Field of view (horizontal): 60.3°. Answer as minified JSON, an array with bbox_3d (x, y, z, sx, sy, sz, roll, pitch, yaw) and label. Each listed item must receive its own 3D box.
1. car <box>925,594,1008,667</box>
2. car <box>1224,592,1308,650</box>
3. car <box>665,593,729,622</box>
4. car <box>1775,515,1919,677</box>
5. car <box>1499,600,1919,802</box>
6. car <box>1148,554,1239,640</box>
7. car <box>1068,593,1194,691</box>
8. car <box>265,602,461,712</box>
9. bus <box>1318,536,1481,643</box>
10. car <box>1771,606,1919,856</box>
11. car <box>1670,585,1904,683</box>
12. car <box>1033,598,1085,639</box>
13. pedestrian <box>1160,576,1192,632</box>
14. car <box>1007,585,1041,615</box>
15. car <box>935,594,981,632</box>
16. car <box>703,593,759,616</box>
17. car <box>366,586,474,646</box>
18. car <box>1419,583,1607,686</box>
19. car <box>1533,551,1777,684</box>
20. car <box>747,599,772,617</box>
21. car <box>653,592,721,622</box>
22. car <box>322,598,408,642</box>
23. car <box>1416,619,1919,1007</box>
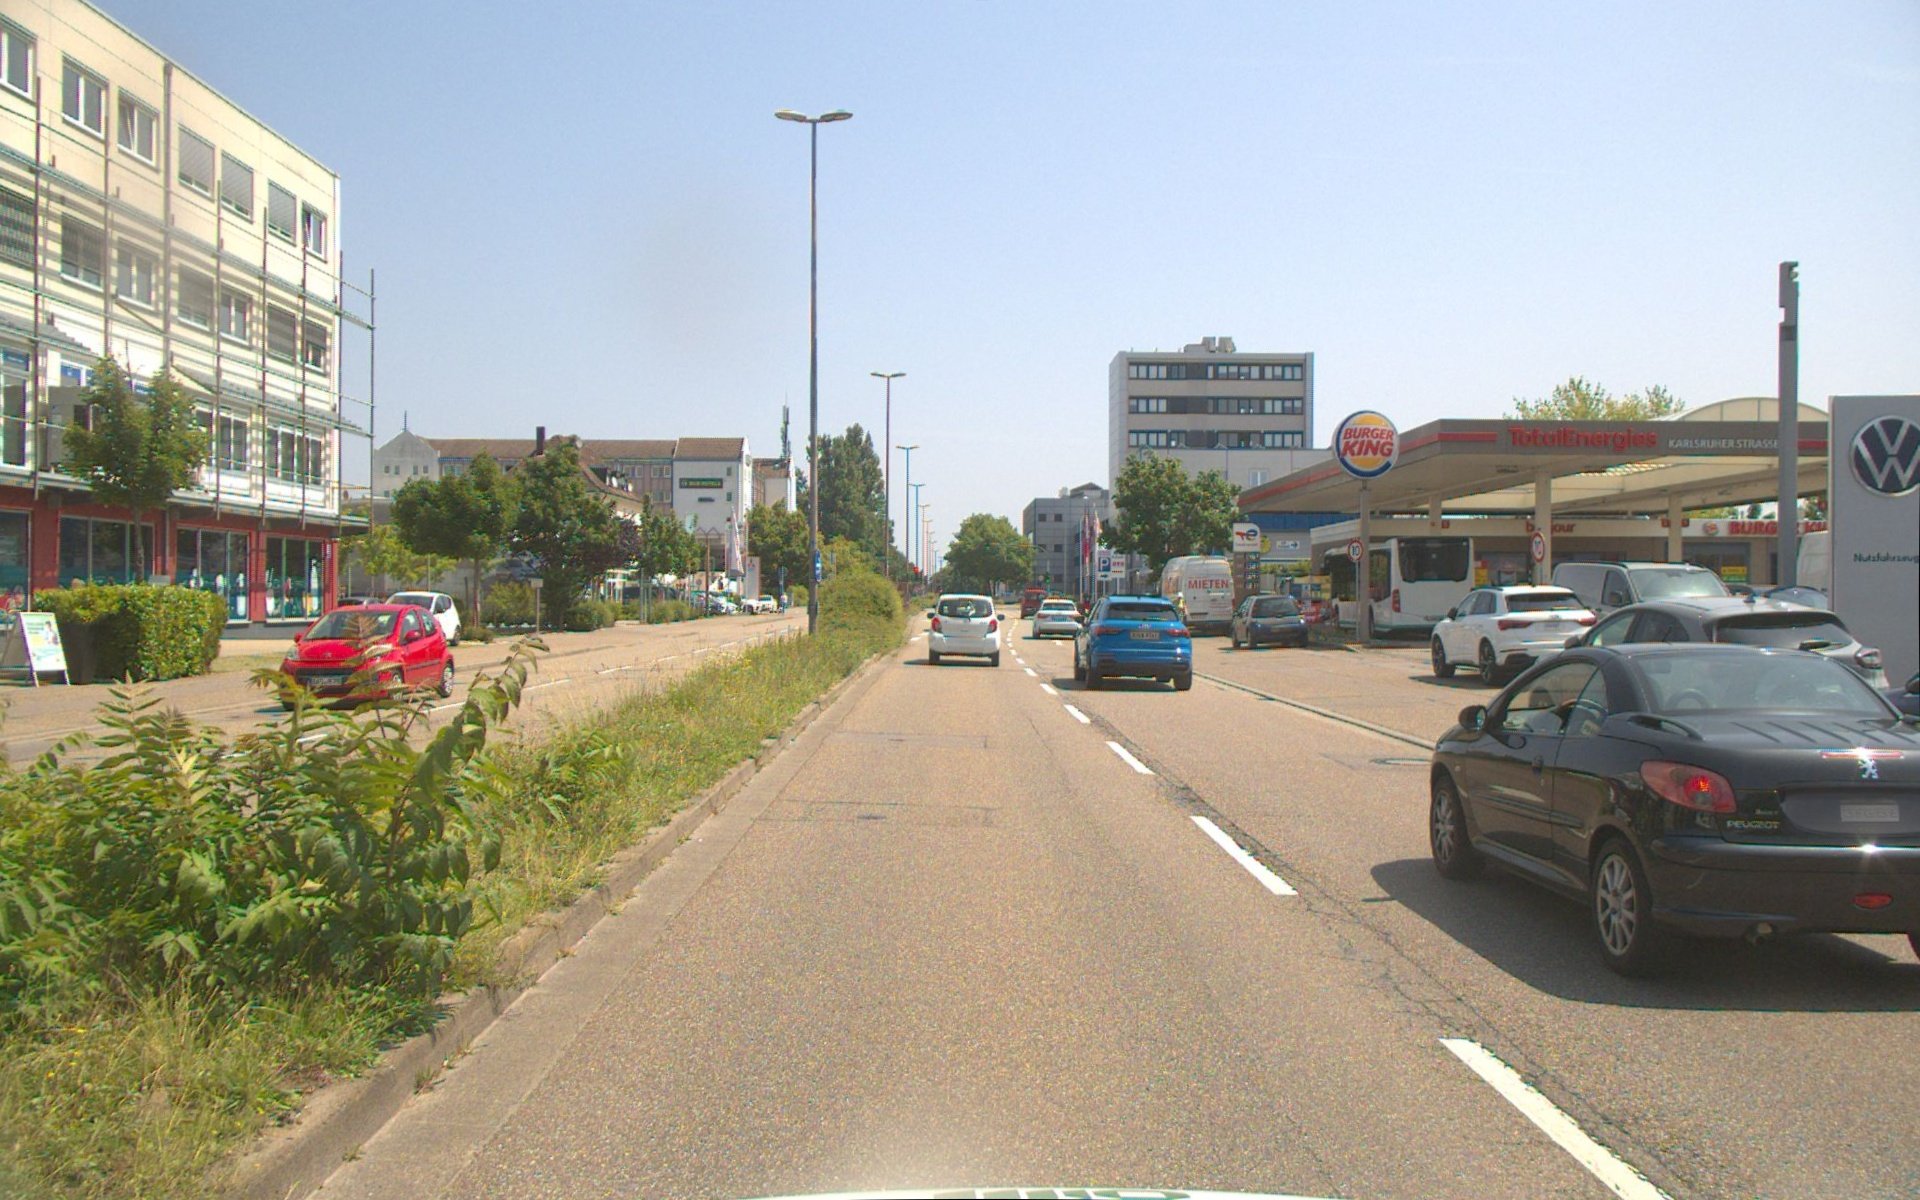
[{"bbox_3d":[0.115,0.671,37.315,1.678,1.537,3.245,1,-1,-3],"label":"car"},{"bbox_3d":[8.645,0.584,47.027,1.623,1.546,3.819,-1,0,-1],"label":"car"},{"bbox_3d":[-17.289,0.525,108.697,3.907,1.759,1.936,1,-2,-3],"label":"car"},{"bbox_3d":[17.199,-0.081,29.083,2.210,2.722,7.016,0,0,-1],"label":"car"},{"bbox_3d":[6.640,0.801,15.152,1.699,1.579,4.175,1,0,-6],"label":"car"},{"bbox_3d":[8.452,-0.101,60.525,2.090,2.889,7.308,-2,0,-1],"label":"car"},{"bbox_3d":[3.016,0.711,29.920,1.873,1.625,4.396,0,0,1],"label":"car"},{"bbox_3d":[-8.592,0.790,24.085,1.597,1.449,3.450,-1,-1,0],"label":"car"},{"bbox_3d":[14.397,-0.408,55.348,2.746,3.132,12.290,1,1,3],"label":"bus"},{"bbox_3d":[6.915,0.808,9.781,1.679,1.575,4.787,-1,-1,-3],"label":"car"},{"bbox_3d":[14.367,0.544,29.049,1.708,1.540,4.599,2,0,-1],"label":"car"},{"bbox_3d":[3.587,0.658,60.417,1.633,1.424,3.793,1,0,0],"label":"car"},{"bbox_3d":[7.275,0.144,55.783,0.799,1.779,0.703,7,-2,-1],"label":"pedestrian"},{"bbox_3d":[3.958,0.034,103.230,1.759,1.759,3.970,1,-1,-3],"label":"car"},{"bbox_3d":[-0.123,0.563,67.893,1.793,1.475,3.999,1,-1,-1],"label":"car"},{"bbox_3d":[-17.285,0.365,125.011,3.904,1.579,1.865,1,-2,2],"label":"car"},{"bbox_3d":[-15.068,0.492,46.335,1.644,1.521,4.041,1,-2,0],"label":"car"},{"bbox_3d":[9.479,0.546,28.719,1.633,1.624,4.612,-1,0,-1],"label":"car"},{"bbox_3d":[11.876,0.292,28.698,1.953,2.058,5.159,1,0,-2],"label":"car"},{"bbox_3d":[-16.674,0.688,137.639,1.865,1.378,3.995,2,-2,-5],"label":"car"},{"bbox_3d":[-16.924,0.436,102.734,3.907,1.694,1.887,1,-2,-3],"label":"car"},{"bbox_3d":[-22.143,0.781,61.687,1.733,1.574,3.999,0,-2,0],"label":"car"},{"bbox_3d":[3.567,0.839,8.161,1.567,1.450,3.660,0,0,-1],"label":"car"}]
